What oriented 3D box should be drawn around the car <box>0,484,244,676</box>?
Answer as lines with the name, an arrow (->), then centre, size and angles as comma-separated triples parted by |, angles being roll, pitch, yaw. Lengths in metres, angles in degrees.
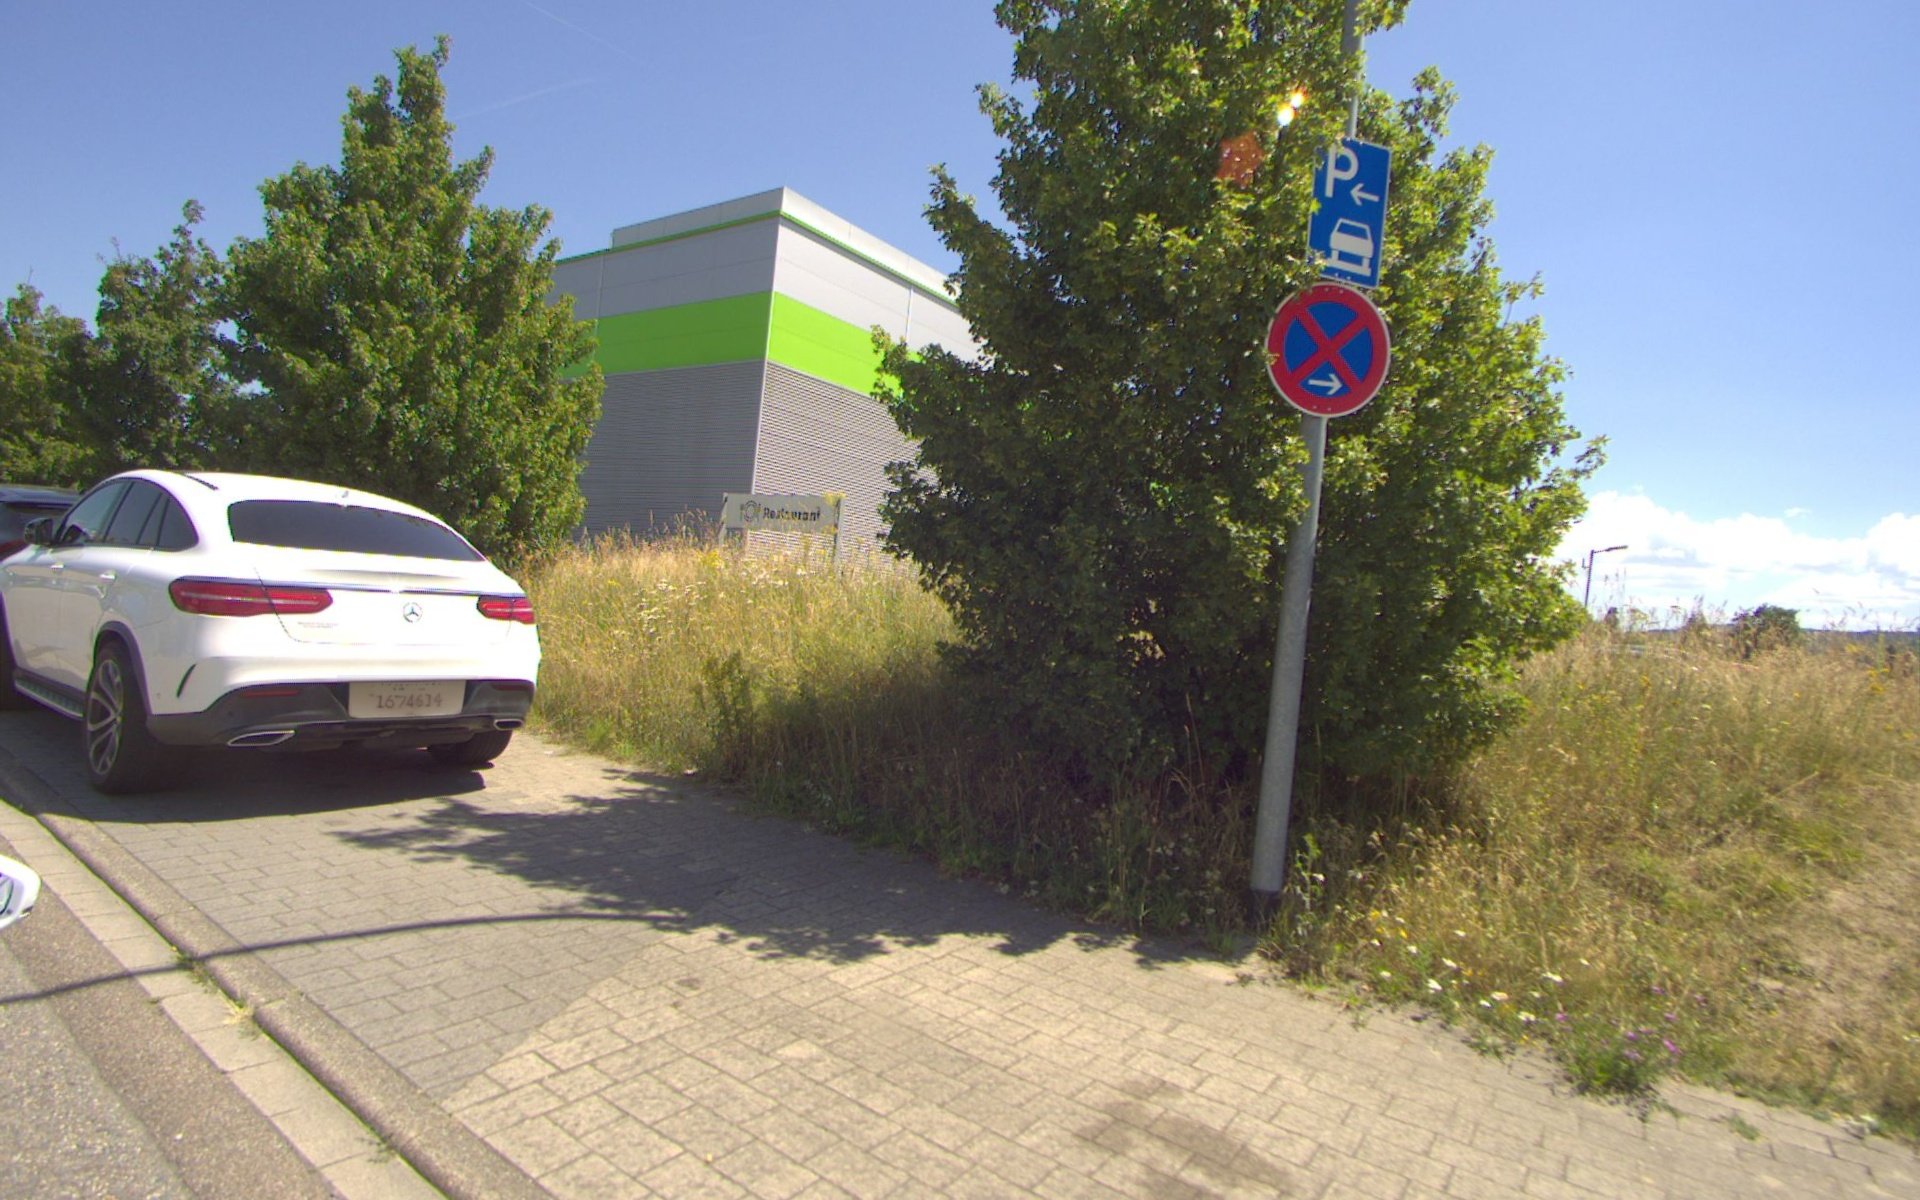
car -> -9.239, -0.316, 10.003 | 4.555, 1.549, 1.904 | 6, 1, 34

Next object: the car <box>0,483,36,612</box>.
car -> -14.486, -0.882, 13.847 | 4.390, 1.657, 1.803 | 6, 1, 37

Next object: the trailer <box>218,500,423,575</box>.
trailer -> -47.692, -4.545, 75.697 | 2.762, 3.922, 12.615 | 5, -2, 37

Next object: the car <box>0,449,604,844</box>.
car -> -4.714, 0.069, 6.641 | 4.712, 1.721, 2.142 | 6, 1, 37
